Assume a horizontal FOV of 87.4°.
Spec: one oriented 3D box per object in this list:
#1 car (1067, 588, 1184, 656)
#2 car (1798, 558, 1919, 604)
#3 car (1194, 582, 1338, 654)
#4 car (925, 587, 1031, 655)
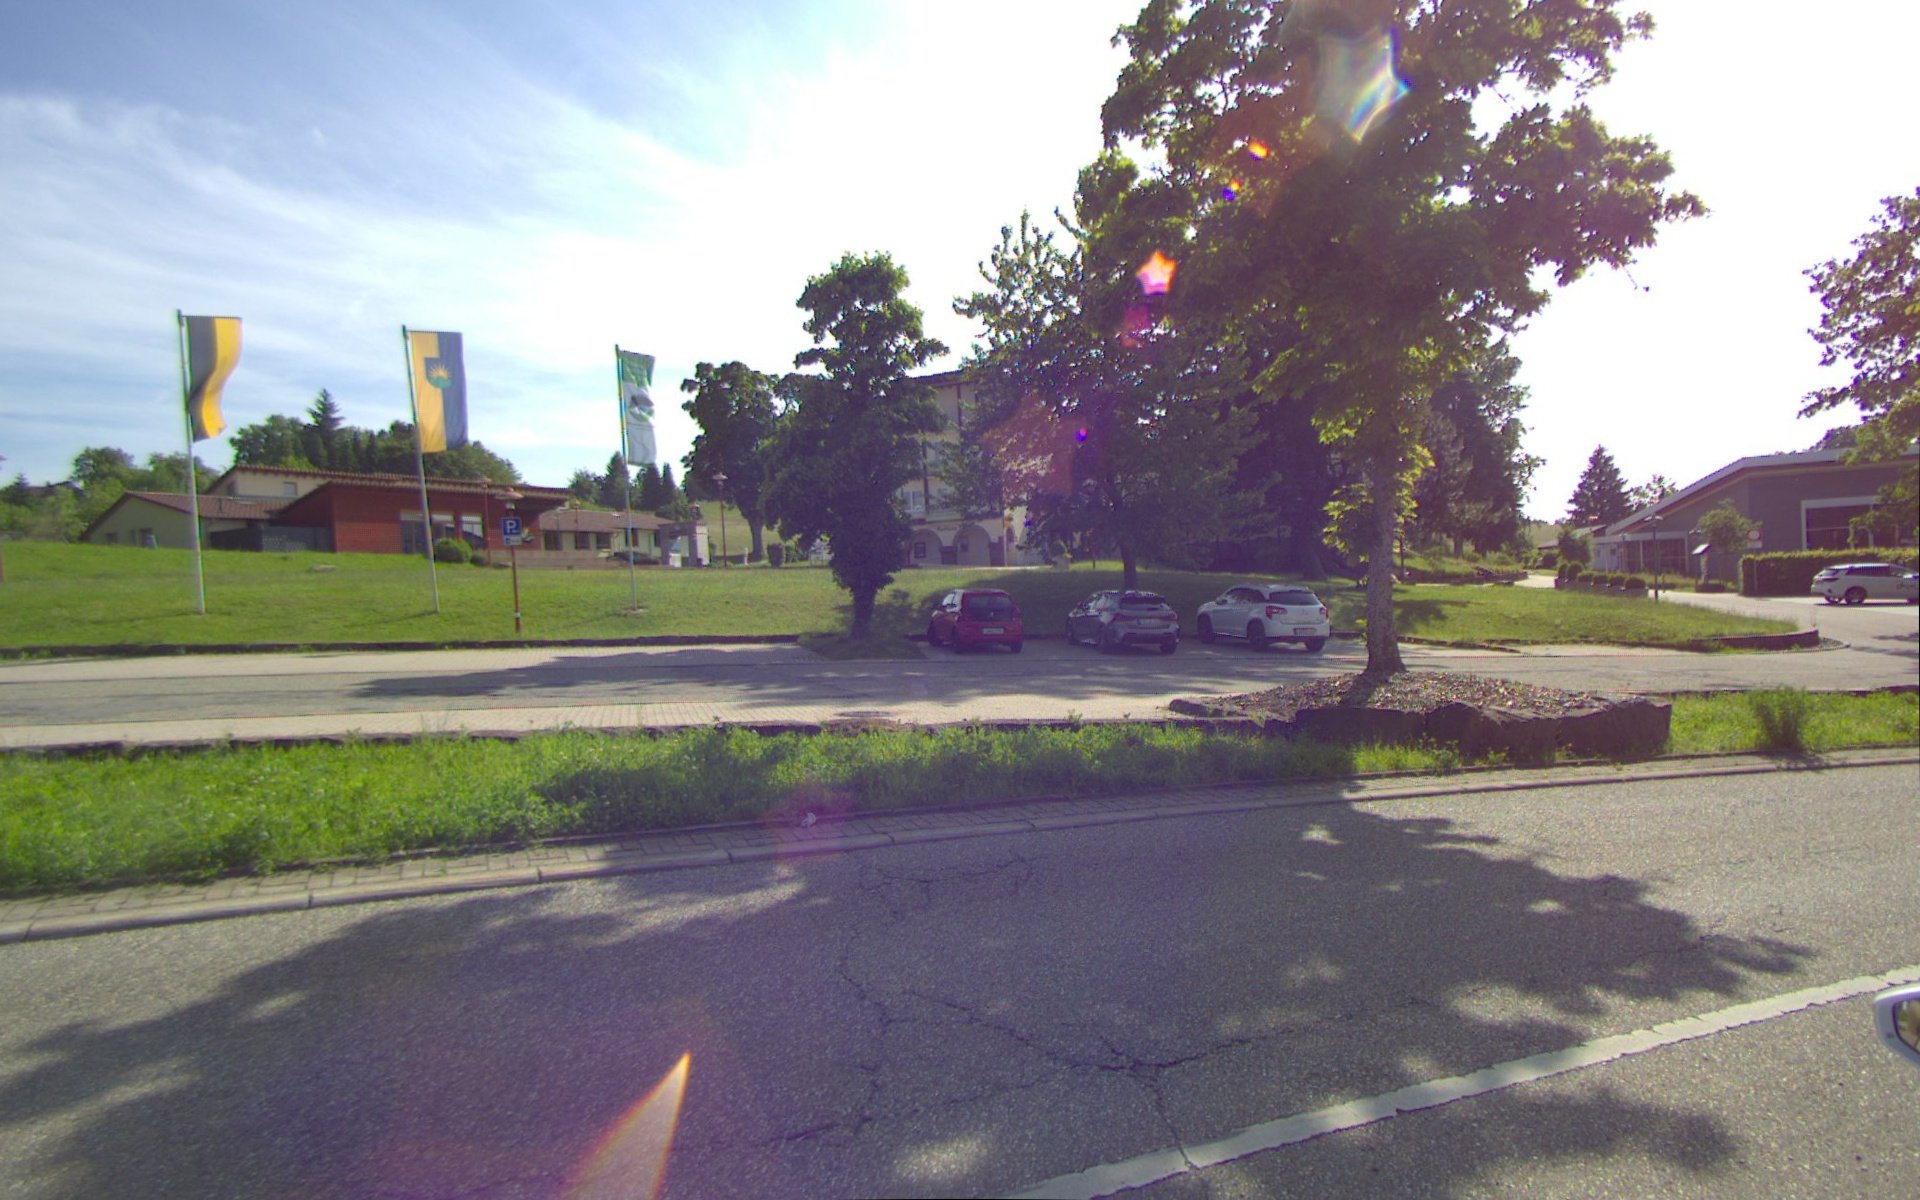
[{"bbox_3d":[3.937,0.484,24.496,1.744,1.453,3.707,1,2,-9],"label":"car"},{"bbox_3d":[36.767,-0.791,40.110,4.637,1.555,1.999,-2,5,20],"label":"car"},{"bbox_3d":[7.663,0.382,25.559,1.746,1.631,3.930,0,2,-14],"label":"car"},{"bbox_3d":[0.366,0.458,24.378,1.746,1.490,3.197,0,2,-15],"label":"car"}]
